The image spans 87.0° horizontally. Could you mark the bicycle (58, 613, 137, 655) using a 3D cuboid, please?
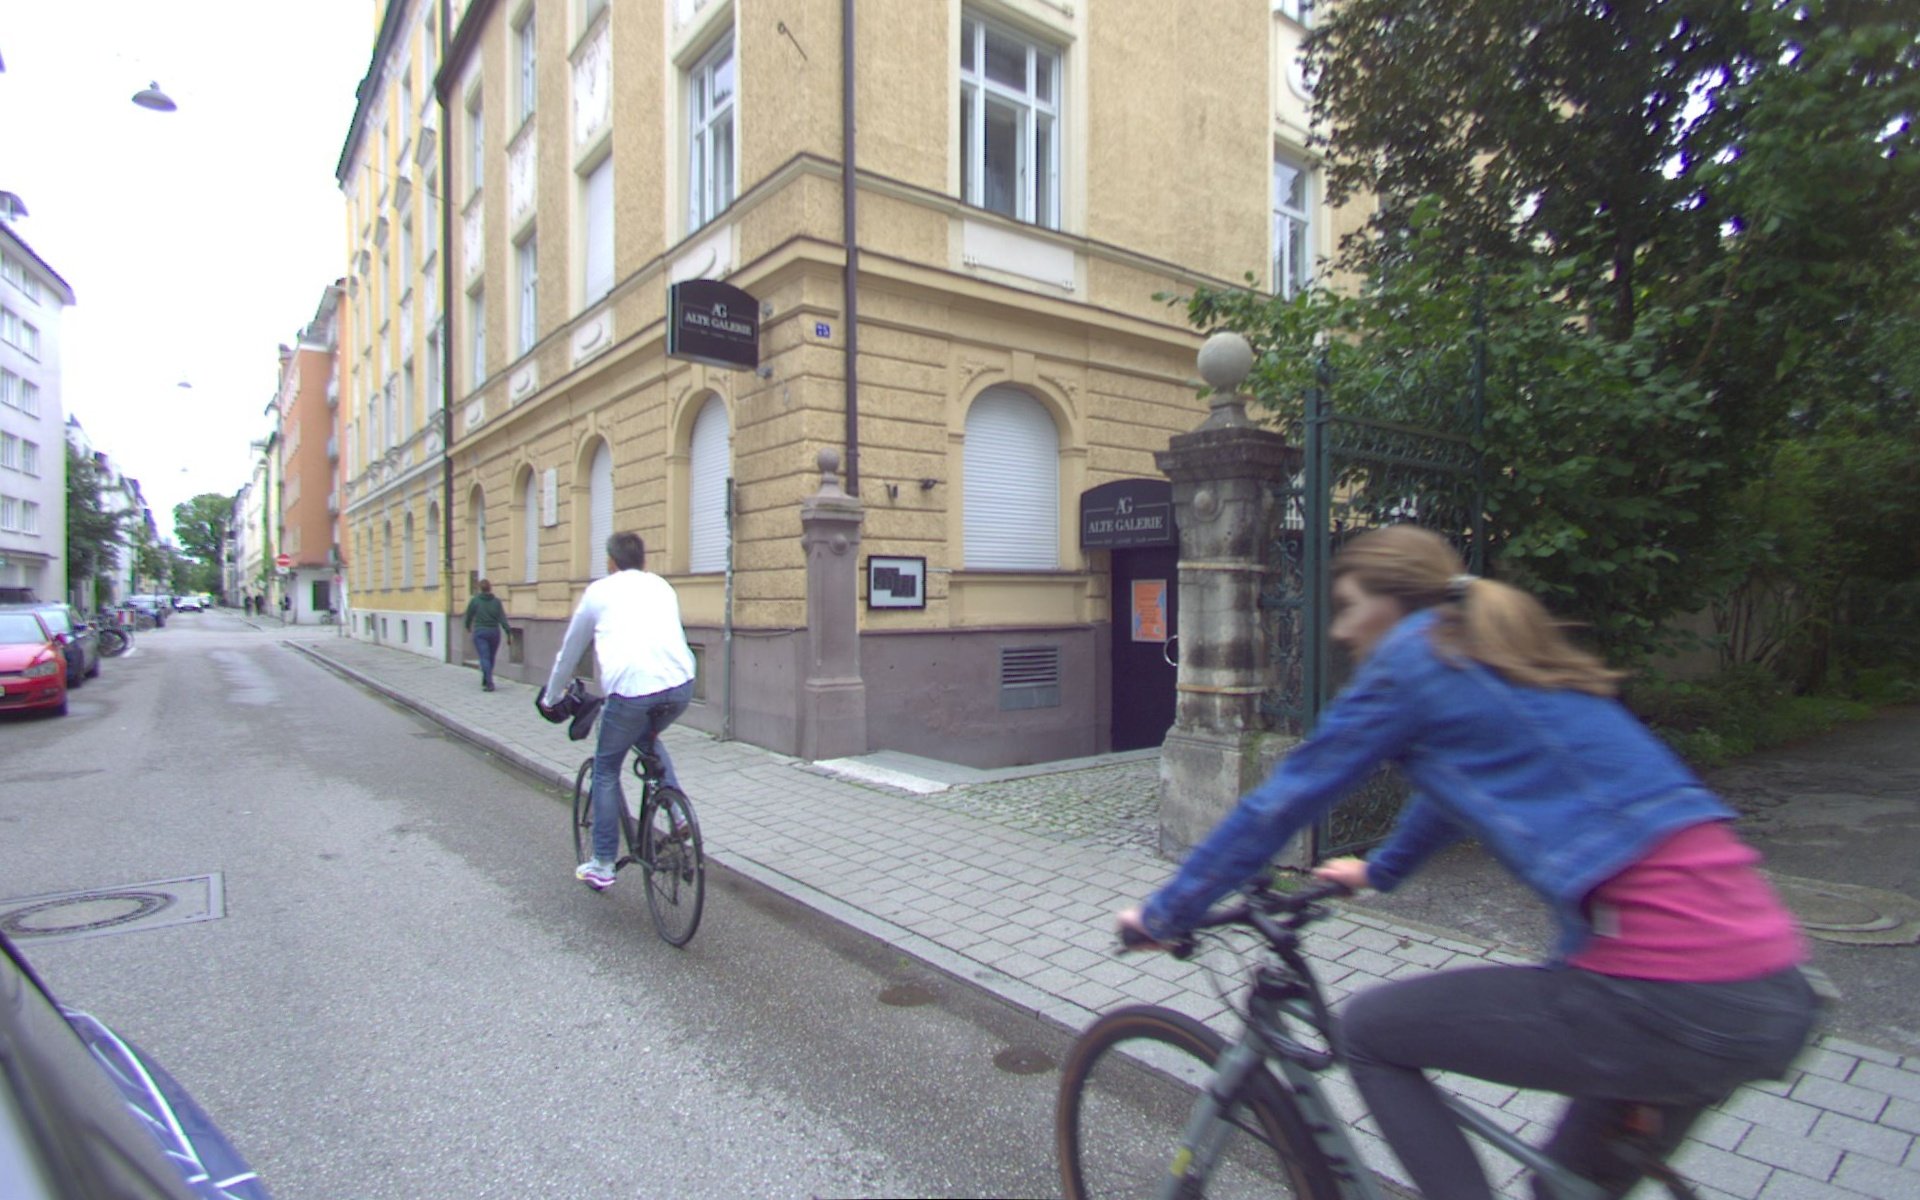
[{"bbox_3d":[-24.447,0.946,28.716,1.673,1.169,0.379,0,0,-38],"label":"bicycle"}]

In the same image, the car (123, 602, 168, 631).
[{"bbox_3d":[-41.163,0.793,51.176,1.628,1.409,4.009,1,0,-37],"label":"car"}]

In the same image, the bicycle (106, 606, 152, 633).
[{"bbox_3d":[-37.971,0.872,46.263,1.582,1.223,0.530,1,0,-35],"label":"bicycle"}]

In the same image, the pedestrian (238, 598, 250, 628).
[{"bbox_3d":[-49.586,0.897,70.098,0.625,2.029,0.790,2,-2,-37],"label":"pedestrian"}]

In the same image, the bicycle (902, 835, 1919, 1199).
[{"bbox_3d":[0.716,1.007,1.458,0.698,0.912,1.813,0,-1,-38],"label":"bicycle"}]

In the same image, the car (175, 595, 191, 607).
[{"bbox_3d":[-126.480,0.153,164.760,1.968,2.029,4.656,0,0,-38],"label":"car"}]

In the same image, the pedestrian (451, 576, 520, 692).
[{"bbox_3d":[-7.286,0.498,15.526,0.703,1.678,0.931,-3,2,-38],"label":"pedestrian"}]

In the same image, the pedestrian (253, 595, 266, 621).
[{"bbox_3d":[-48.835,0.546,70.562,0.688,1.807,0.765,1,-1,-37],"label":"pedestrian"}]

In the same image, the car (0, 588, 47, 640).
[{"bbox_3d":[-36.810,0.502,37.098,4.602,1.905,1.940,0,-1,-29],"label":"car"}]

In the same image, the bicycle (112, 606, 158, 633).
[{"bbox_3d":[-37.443,0.876,45.946,1.582,1.223,0.530,1,0,-35],"label":"bicycle"}]

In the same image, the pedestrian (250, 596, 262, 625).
[{"bbox_3d":[-49.046,0.714,70.538,0.625,2.029,0.790,2,-2,-37],"label":"pedestrian"}]

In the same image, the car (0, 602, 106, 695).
[{"bbox_3d":[-16.651,0.794,18.090,1.771,1.449,4.394,-2,1,-36],"label":"car"}]

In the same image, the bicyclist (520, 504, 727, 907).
[{"bbox_3d":[-1.583,0.435,4.717,0.651,1.655,0.897,1,-1,-38],"label":"bicyclist"}]

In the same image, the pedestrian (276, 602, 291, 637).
[{"bbox_3d":[-33.631,0.973,50.312,0.603,1.707,0.567,1,-1,-38],"label":"pedestrian"}]

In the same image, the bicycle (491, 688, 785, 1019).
[{"bbox_3d":[-1.582,1.016,4.708,0.652,1.047,2.009,0,-1,-38],"label":"bicycle"}]

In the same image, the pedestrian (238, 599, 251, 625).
[{"bbox_3d":[-49.453,0.820,69.940,0.714,1.807,0.831,1,-1,-37],"label":"pedestrian"}]

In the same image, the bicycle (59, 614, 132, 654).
[{"bbox_3d":[-23.395,0.931,27.413,1.418,1.051,0.361,3,-2,-29],"label":"bicycle"}]

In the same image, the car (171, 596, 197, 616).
[{"bbox_3d":[-71.527,0.525,93.292,1.900,1.819,4.453,0,0,-38],"label":"car"}]

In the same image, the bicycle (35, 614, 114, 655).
[{"bbox_3d":[-23.510,0.919,26.898,1.496,1.051,0.361,3,-2,-29],"label":"bicycle"}]

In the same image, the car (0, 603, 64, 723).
[{"bbox_3d":[-13.501,0.803,13.835,1.740,1.457,4.303,-2,1,-43],"label":"car"}]

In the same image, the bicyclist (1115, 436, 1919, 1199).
[{"bbox_3d":[0.756,0.552,1.412,0.698,1.381,0.815,1,-1,-38],"label":"bicyclist"}]

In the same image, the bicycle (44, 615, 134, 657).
[{"bbox_3d":[-22.370,0.931,26.031,1.680,1.051,0.361,3,-2,-37],"label":"bicycle"}]

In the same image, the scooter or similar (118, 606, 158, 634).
[{"bbox_3d":[-36.457,0.882,44.901,1.319,1.223,0.345,1,-1,-35],"label":"scooter or similar"}]

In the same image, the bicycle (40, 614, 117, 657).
[{"bbox_3d":[-22.846,0.925,26.255,1.416,1.051,0.331,3,-2,-29],"label":"bicycle"}]
